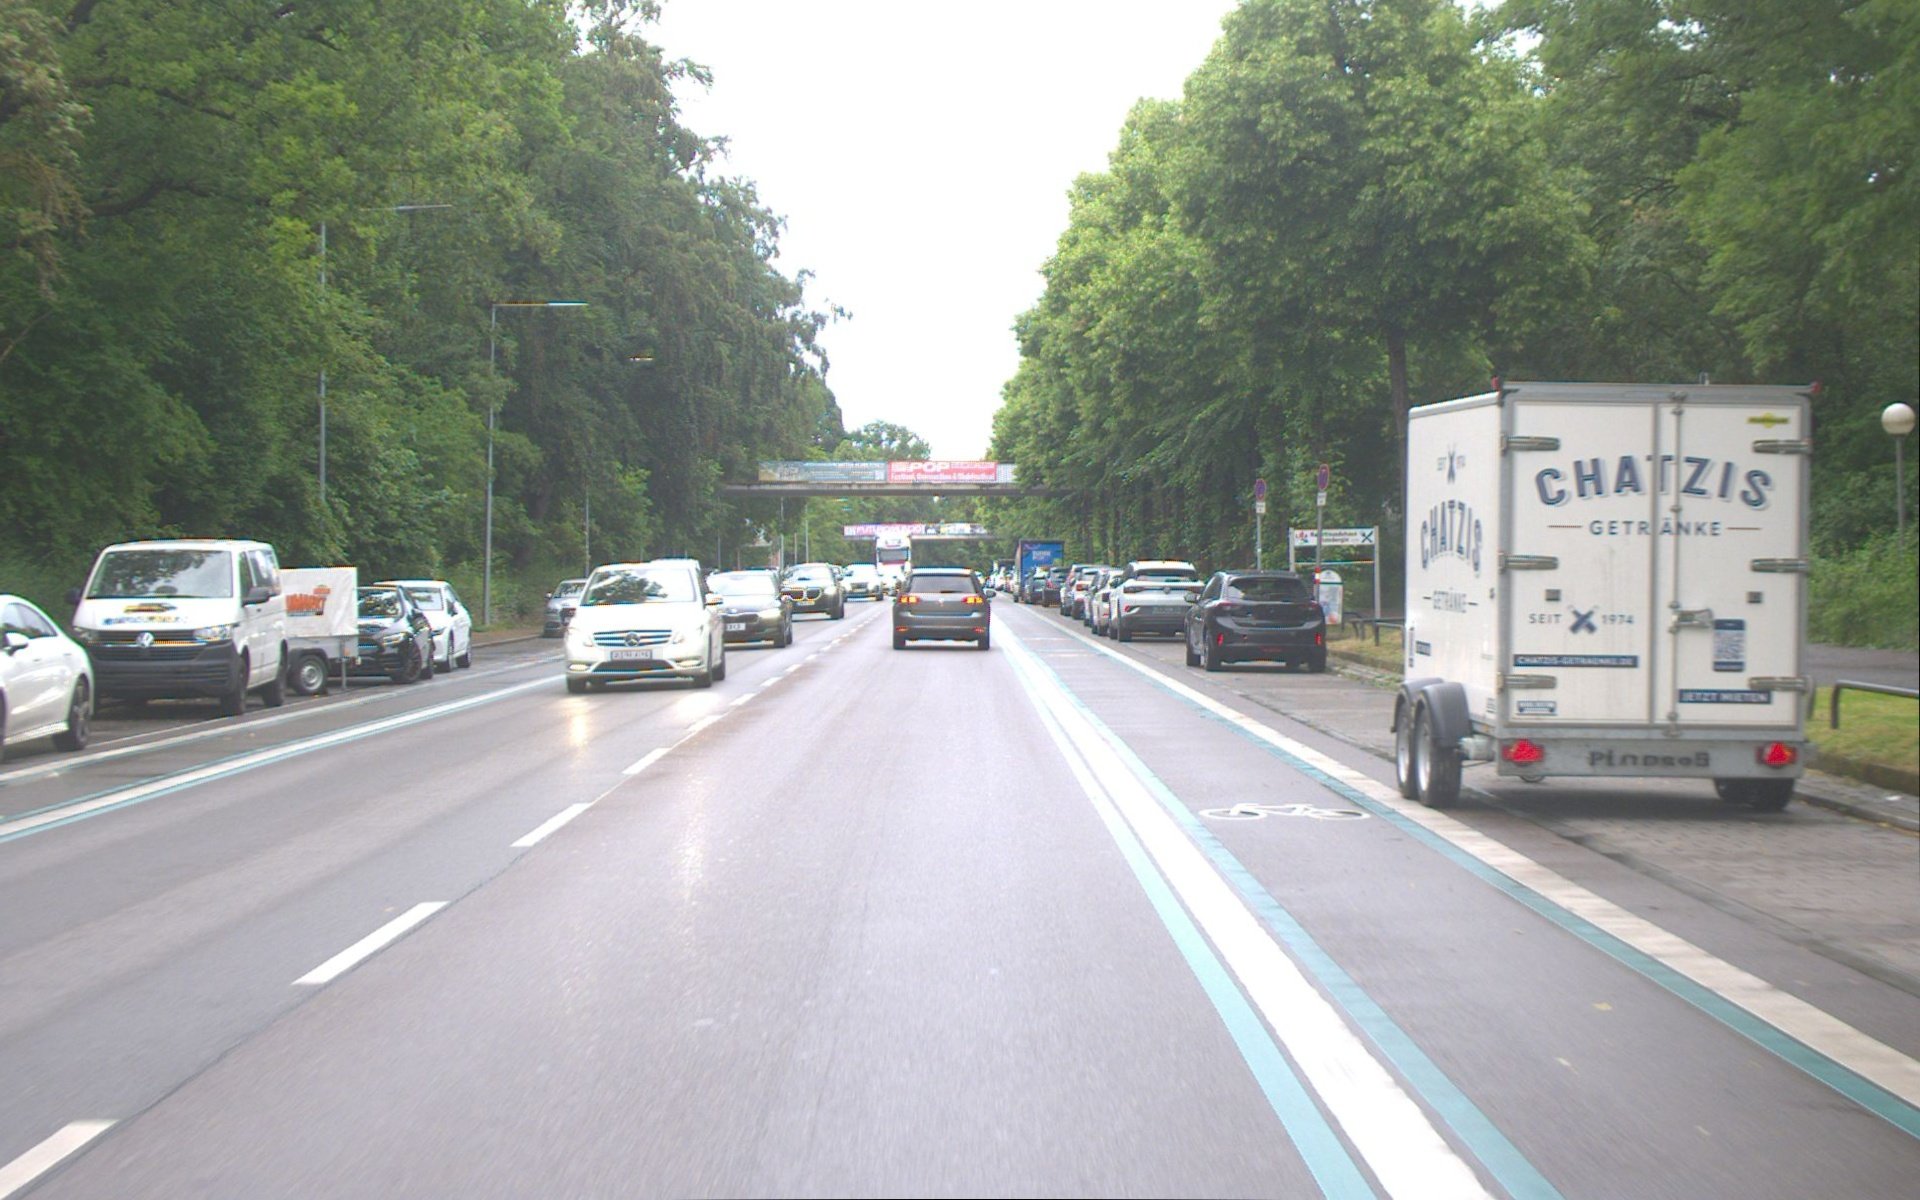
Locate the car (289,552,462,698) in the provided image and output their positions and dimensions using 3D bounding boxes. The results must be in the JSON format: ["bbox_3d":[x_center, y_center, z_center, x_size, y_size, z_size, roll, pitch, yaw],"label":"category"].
[{"bbox_3d":[-8.389,0.318,49.707,1.939,2.007,4.741,0,1,-3],"label":"car"}]

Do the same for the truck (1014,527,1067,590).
[{"bbox_3d":[3.379,-1.747,144.656,2.113,2.590,4.301,0,1,0],"label":"truck"}]

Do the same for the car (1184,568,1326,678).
[{"bbox_3d":[4.247,0.302,50.006,1.722,1.520,4.000,0,1,0],"label":"car"}]

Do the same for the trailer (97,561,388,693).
[{"bbox_3d":[-9.203,0.313,44.319,1.628,1.623,3.666,0,1,31],"label":"trailer"}]

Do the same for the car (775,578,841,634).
[{"bbox_3d":[-4.426,0.154,100.527,1.706,1.566,4.000,0,1,0],"label":"car"}]

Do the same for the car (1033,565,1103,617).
[{"bbox_3d":[3.275,-0.282,105.048,1.993,1.557,4.000,0,1,0],"label":"car"}]

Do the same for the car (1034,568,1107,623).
[{"bbox_3d":[3.208,-0.137,100.255,1.993,1.557,4.000,0,1,0],"label":"car"}]

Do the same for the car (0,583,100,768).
[{"bbox_3d":[-8.790,0.611,28.953,1.993,1.483,4.468,0,1,0],"label":"car"}]

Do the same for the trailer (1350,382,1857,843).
[{"bbox_3d":[3.820,0.041,21.230,2.131,2.551,4.298,0,1,-3],"label":"trailer"}]

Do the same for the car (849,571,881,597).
[{"bbox_3d":[-4.203,-0.716,152.949,1.378,1.127,3.313,0,1,-1],"label":"car"}]

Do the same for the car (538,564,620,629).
[{"bbox_3d":[-9.321,-0.102,84.323,1.672,1.508,3.630,1,1,-1],"label":"car"}]

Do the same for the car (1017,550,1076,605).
[{"bbox_3d":[3.213,-0.840,128.422,1.993,2.007,4.000,0,0,-1],"label":"car"}]

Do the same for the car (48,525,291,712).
[{"bbox_3d":[-8.956,0.173,39.327,1.939,2.007,4.741,0,1,-3],"label":"car"}]

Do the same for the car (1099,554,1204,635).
[{"bbox_3d":[3.847,-0.135,69.716,1.897,1.601,4.000,0,1,0],"label":"car"}]

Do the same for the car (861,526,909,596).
[{"bbox_3d":[-5.359,-2.837,248.459,3.353,4.935,9.010,0,1,-1],"label":"car"}]

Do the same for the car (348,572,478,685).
[{"bbox_3d":[-8.904,0.437,56.154,1.576,1.764,3.415,0,1,0],"label":"car"}]

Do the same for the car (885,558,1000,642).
[{"bbox_3d":[-0.354,0.027,62.152,1.871,1.436,4.296,1,-1,-3],"label":"car"}]

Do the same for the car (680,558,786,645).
[{"bbox_3d":[-4.228,-0.001,64.448,1.706,1.566,4.000,0,1,0],"label":"car"}]

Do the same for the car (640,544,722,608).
[{"bbox_3d":[-8.947,-0.793,110.572,2.159,2.007,5.031,0,1,1],"label":"car"}]

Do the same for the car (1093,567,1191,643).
[{"bbox_3d":[3.908,0.084,74.334,1.897,1.601,4.000,0,1,0],"label":"car"}]

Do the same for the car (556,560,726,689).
[{"bbox_3d":[-3.943,0.271,43.048,1.835,1.512,4.000,0,1,-1],"label":"car"}]

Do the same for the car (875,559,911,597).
[{"bbox_3d":[-3.987,-1.298,205.544,1.993,2.007,3.999,-2,-3,0],"label":"car"}]

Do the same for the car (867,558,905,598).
[{"bbox_3d":[-4.100,-1.212,191.234,1.993,2.007,3.999,-2,-3,0],"label":"car"}]

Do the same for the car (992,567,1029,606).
[{"bbox_3d":[2.842,-0.752,196.023,1.993,2.007,3.999,-2,-3,0],"label":"car"}]

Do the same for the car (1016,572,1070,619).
[{"bbox_3d":[3.296,-0.178,136.474,1.993,1.766,4.000,-2,0,0],"label":"car"}]

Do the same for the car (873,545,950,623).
[{"bbox_3d":[-1.260,-0.443,91.466,1.993,2.007,4.000,0,1,0],"label":"car"}]
